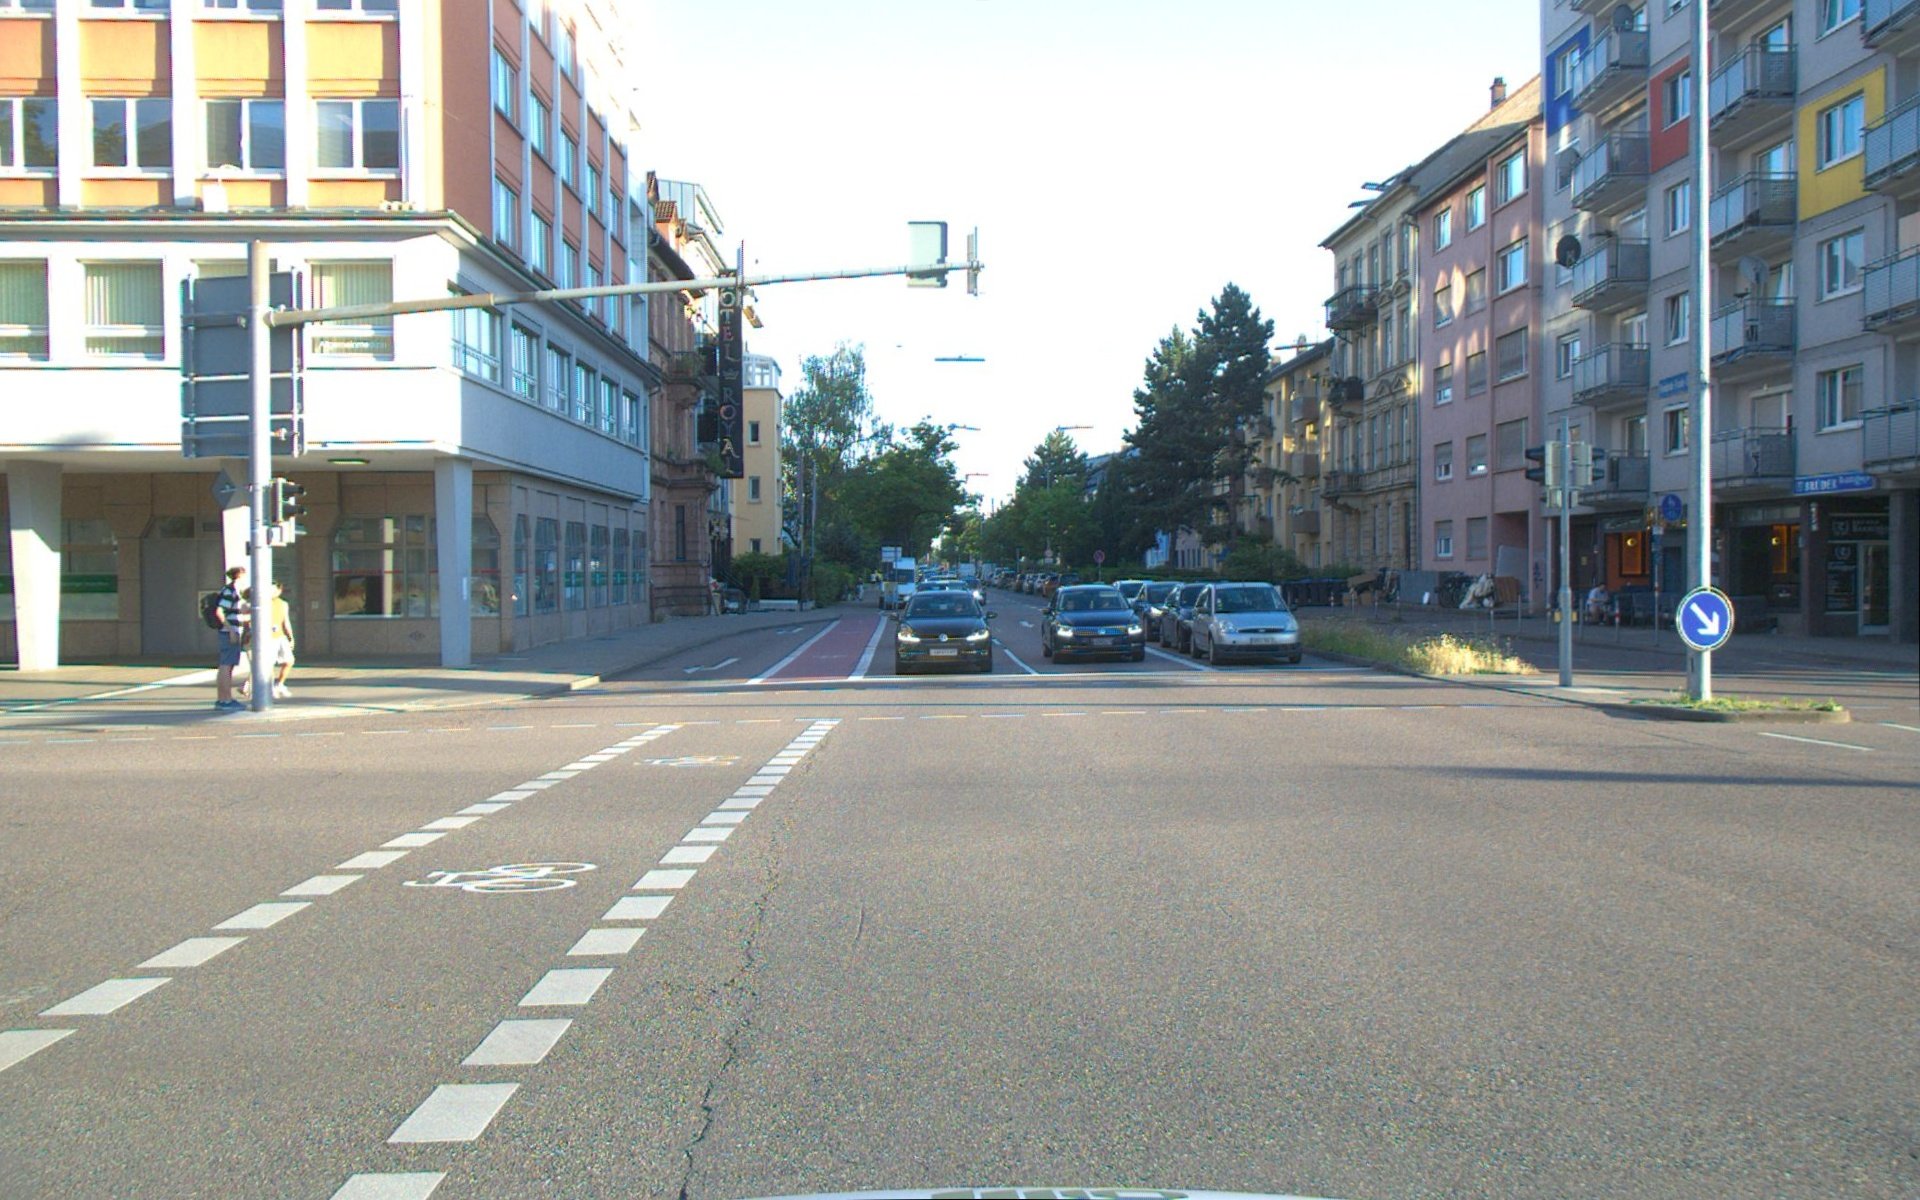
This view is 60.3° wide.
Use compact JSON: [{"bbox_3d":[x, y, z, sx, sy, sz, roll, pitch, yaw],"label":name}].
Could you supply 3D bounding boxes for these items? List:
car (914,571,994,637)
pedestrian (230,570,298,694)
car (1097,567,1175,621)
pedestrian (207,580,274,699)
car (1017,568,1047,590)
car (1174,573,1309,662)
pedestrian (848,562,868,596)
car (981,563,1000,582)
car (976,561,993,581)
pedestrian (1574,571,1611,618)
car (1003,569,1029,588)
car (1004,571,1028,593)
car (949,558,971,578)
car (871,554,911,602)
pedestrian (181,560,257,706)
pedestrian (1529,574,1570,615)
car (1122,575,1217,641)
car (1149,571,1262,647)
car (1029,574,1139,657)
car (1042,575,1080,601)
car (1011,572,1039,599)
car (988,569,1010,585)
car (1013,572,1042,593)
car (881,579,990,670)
[{"bbox_3d":[-0.176,0.064,42.709,1.953,1.558,4.000,-1,2,-1],"label":"car"},{"bbox_3d":[-10.569,0.468,25.125,0.697,1.849,0.752,-1,1,-2],"label":"pedestrian"},{"bbox_3d":[5.161,-0.209,48.976,1.952,1.512,4.001,-1,1,1],"label":"car"},{"bbox_3d":[-10.608,0.575,24.404,0.713,1.714,0.585,-1,1,-4],"label":"pedestrian"},{"bbox_3d":[5.234,-1.560,120.574,1.953,1.544,4.220,-1,1,-1],"label":"car"},{"bbox_3d":[5.247,0.279,31.277,1.952,1.512,4.001,-1,2,1],"label":"car"},{"bbox_3d":[-6.199,-1.293,100.661,1.006,2.048,0.941,-1,1,-15],"label":"pedestrian"},{"bbox_3d":[3.412,-3.119,188.063,1.953,2.085,4.220,-1,1,-1],"label":"car"},{"bbox_3d":[2.957,-3.582,203.615,1.953,2.418,4.000,-1,1,-1],"label":"car"},{"bbox_3d":[17.628,-0.152,46.126,0.697,1.278,0.792,-1,1,-5],"label":"pedestrian"},{"bbox_3d":[4.682,-1.783,138.188,1.953,1.544,4.220,-1,1,-1],"label":"car"},{"bbox_3d":[5.045,-1.640,150.204,1.953,1.865,4.220,-1,1,-1],"label":"car"},{"bbox_3d":[-0.011,-3.983,207.633,2.563,2.418,5.255,-1,1,-1],"label":"car"},{"bbox_3d":[-3.478,-1.131,84.158,1.953,2.364,4.220,-1,1,-1],"label":"car"},{"bbox_3d":[-10.304,0.446,22.987,0.705,1.980,0.720,0,1,42],"label":"pedestrian"},{"bbox_3d":[17.435,-0.160,48.928,0.843,1.190,0.790,-1,1,-10],"label":"pedestrian"},{"bbox_3d":[5.212,0.167,41.532,1.952,1.512,4.001,-1,1,1],"label":"car"},{"bbox_3d":[5.296,0.154,36.095,1.952,1.512,4.001,-1,1,1],"label":"car"},{"bbox_3d":[2.404,0.258,32.927,1.952,1.512,4.001,-1,1,1],"label":"car"},{"bbox_3d":[6.157,-0.753,101.016,1.953,1.544,4.220,-1,1,-1],"label":"car"},{"bbox_3d":[5.120,-1.177,130.163,1.953,2.032,4.220,-1,1,-1],"label":"car"},{"bbox_3d":[3.809,-2.258,161.649,1.953,1.544,4.220,-1,1,-1],"label":"car"},{"bbox_3d":[5.118,-1.333,125.565,1.953,1.544,4.220,-1,1,-1],"label":"car"},{"bbox_3d":[-0.387,0.393,30.538,1.841,1.512,4.001,-1,1,1],"label":"car"}]
